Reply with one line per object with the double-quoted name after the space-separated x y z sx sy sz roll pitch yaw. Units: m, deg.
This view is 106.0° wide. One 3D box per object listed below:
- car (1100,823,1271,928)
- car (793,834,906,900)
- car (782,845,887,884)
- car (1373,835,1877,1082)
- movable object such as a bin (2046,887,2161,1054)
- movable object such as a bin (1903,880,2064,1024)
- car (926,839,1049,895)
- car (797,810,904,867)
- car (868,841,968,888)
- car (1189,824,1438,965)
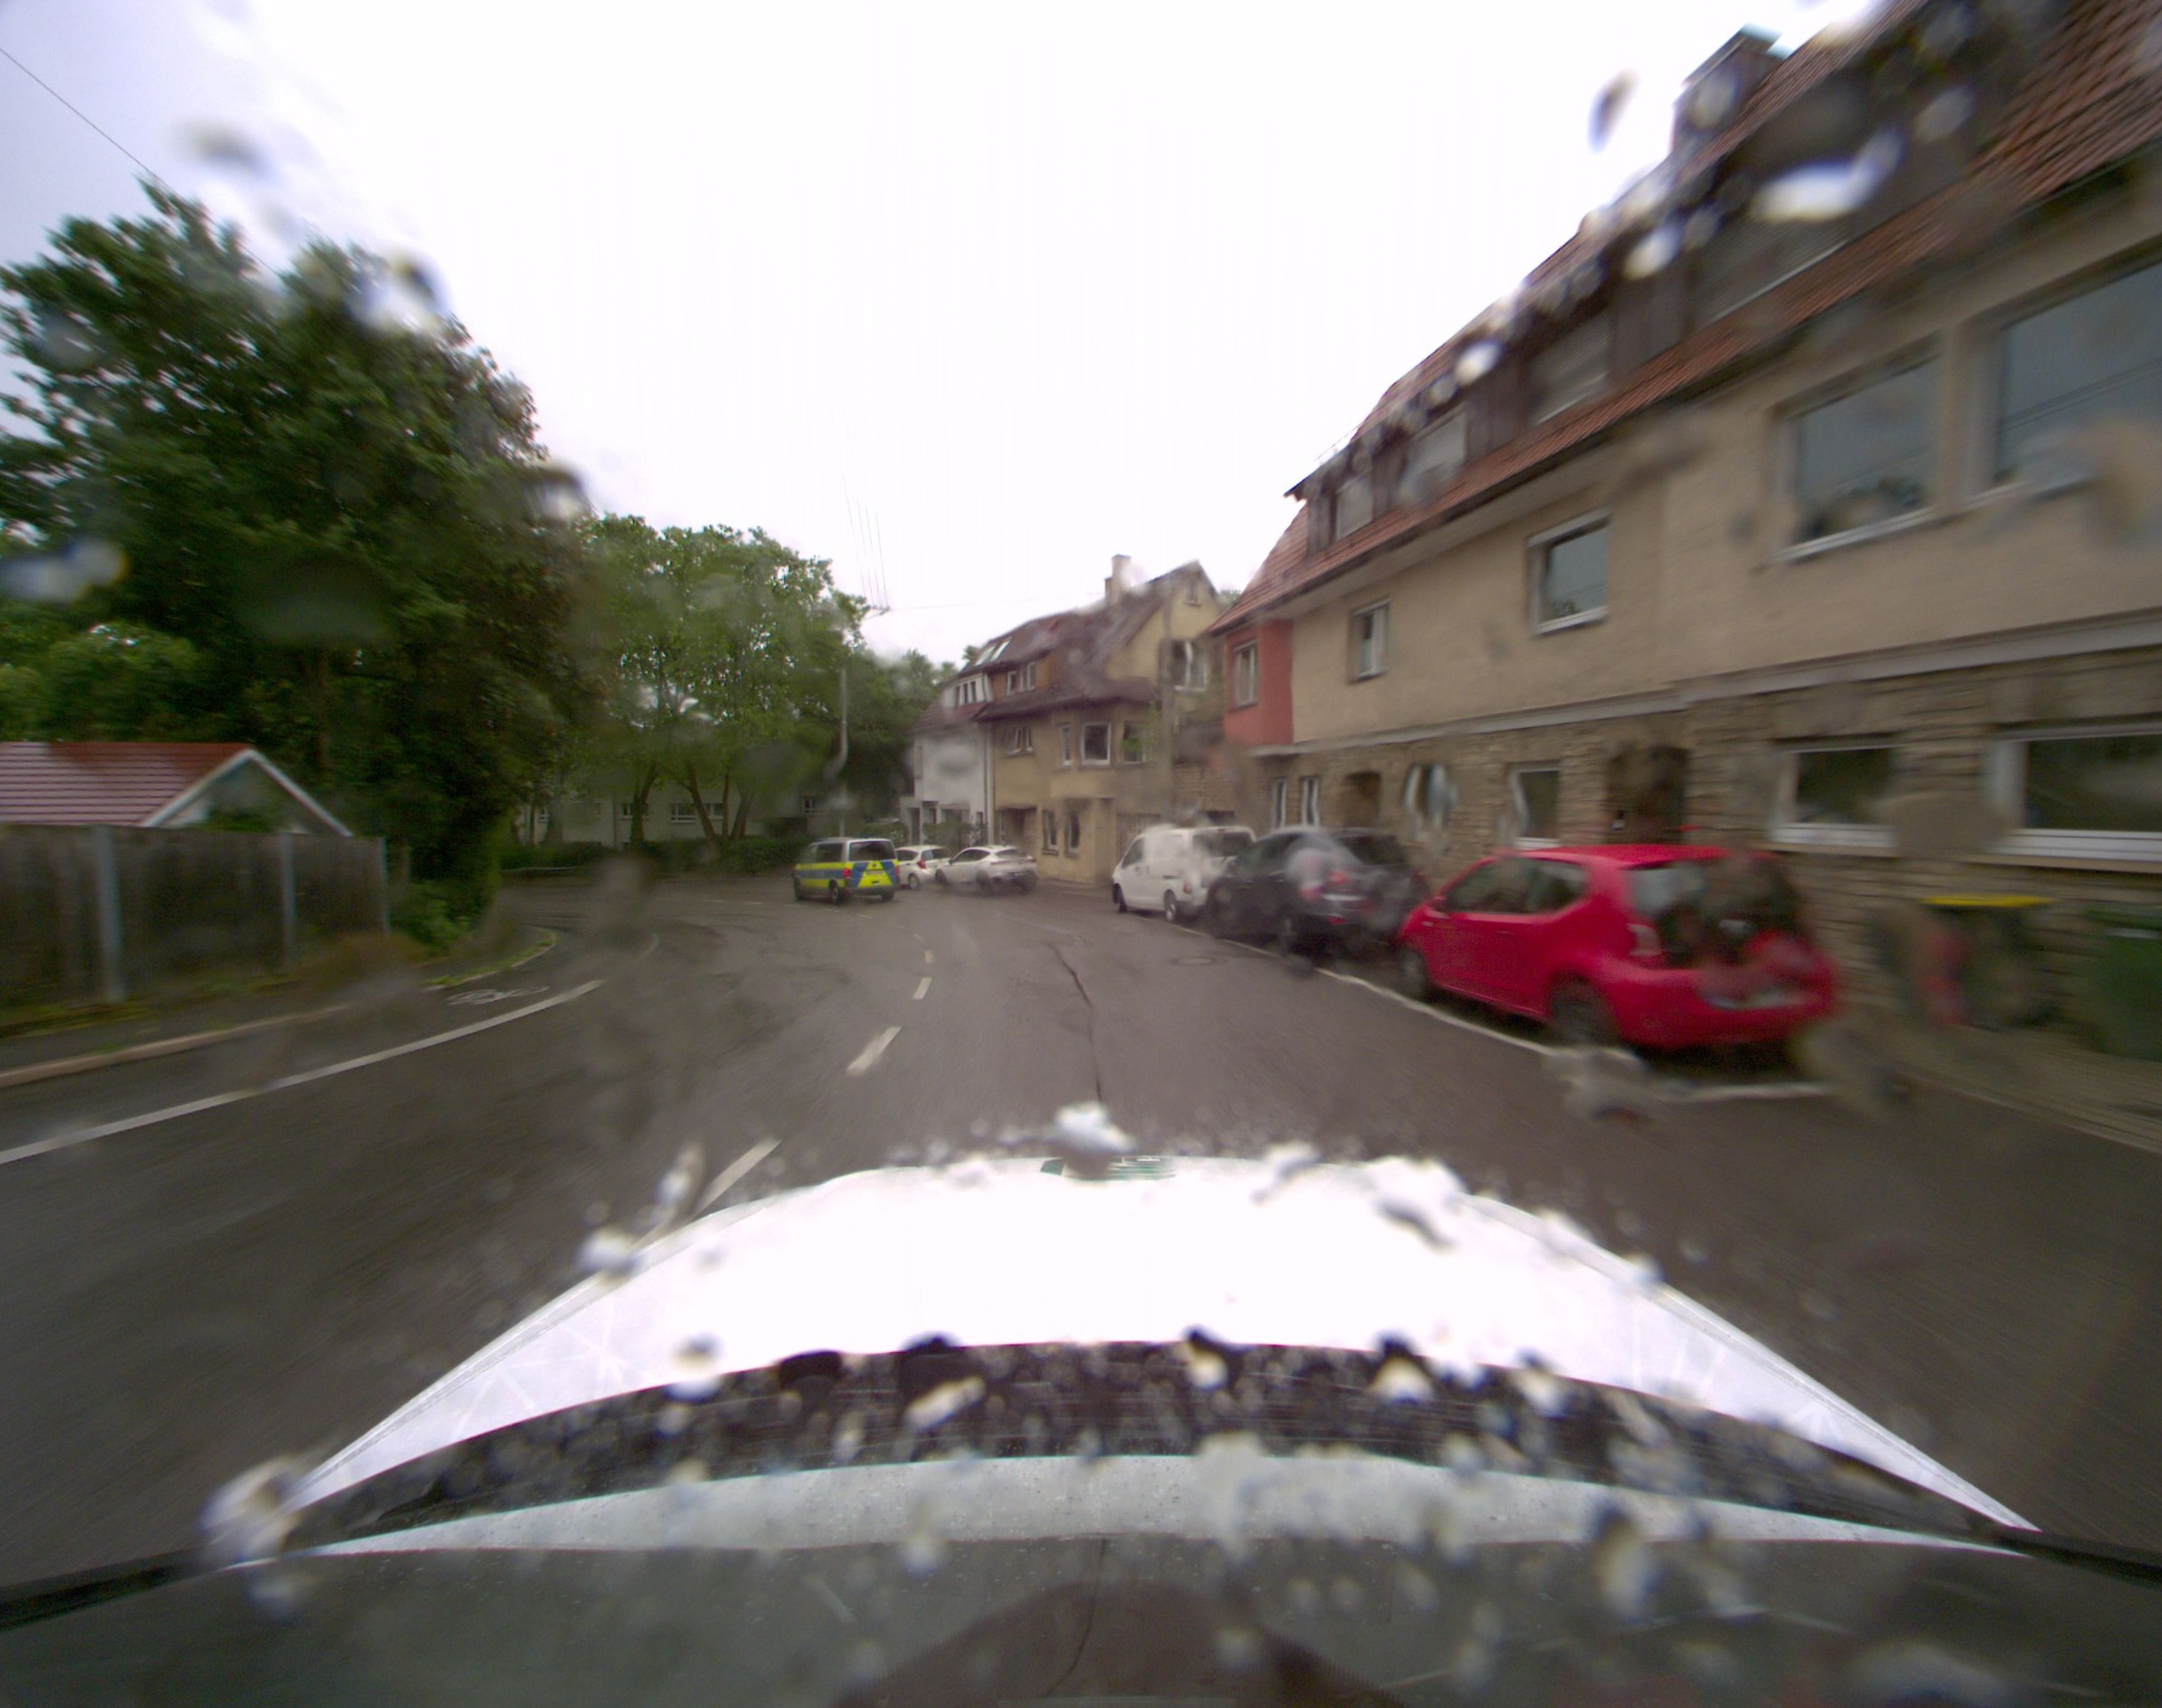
1.981 0.346 16.842 1.710 1.790 4.299 -4 2 -19 "car"
-7.452 0.427 25.885 2.009 1.893 4.519 -1 -1 -36 "car"
-10.062 0.437 33.097 4.141 1.367 1.798 -2 2 34 "car"
4.005 0.626 6.785 1.612 1.435 3.576 -2 0 -4 "car"
6.667 0.704 5.112 0.594 0.923 0.514 -4 2 -3 "movable object such as a bin"
6.518 0.689 5.901 0.586 0.923 0.507 -4 2 -3 "movable object such as a bin"
-3.100 0.406 26.261 1.929 1.538 4.365 -5 2 -37 "car"
-11.170 -0.800 39.491 4.423 1.841 1.983 -14 9 -26 "car"
-6.013 0.379 29.804 1.781 1.514 3.776 -5 2 -44 "car"
3.107 0.433 11.933 1.616 1.604 4.394 -3 2 -12 "car"
